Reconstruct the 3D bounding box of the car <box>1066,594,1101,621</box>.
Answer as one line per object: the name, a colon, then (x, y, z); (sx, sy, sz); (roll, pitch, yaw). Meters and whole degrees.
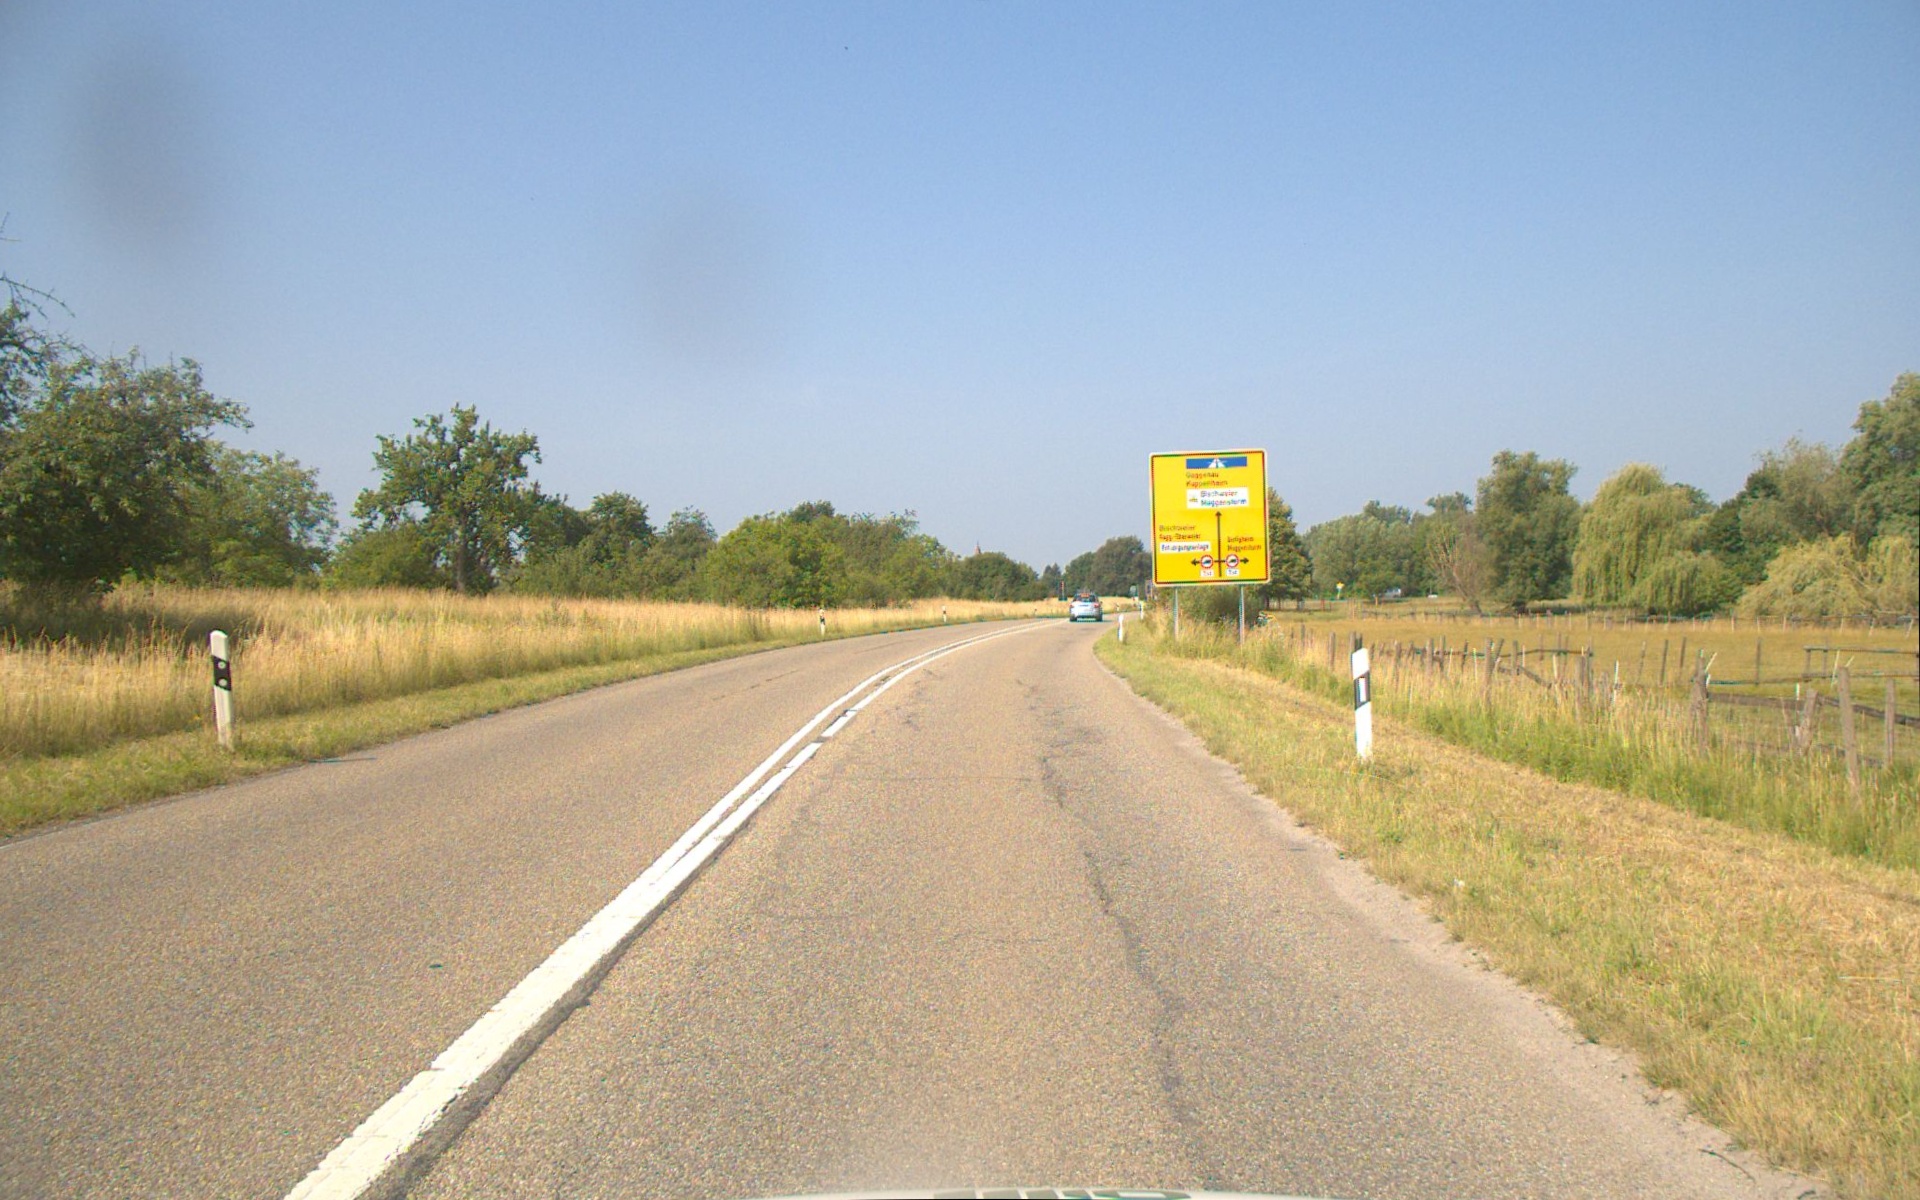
car: (7.436, 0.440, 99.395); (1.858, 1.538, 4.003); (1, 0, 8)
